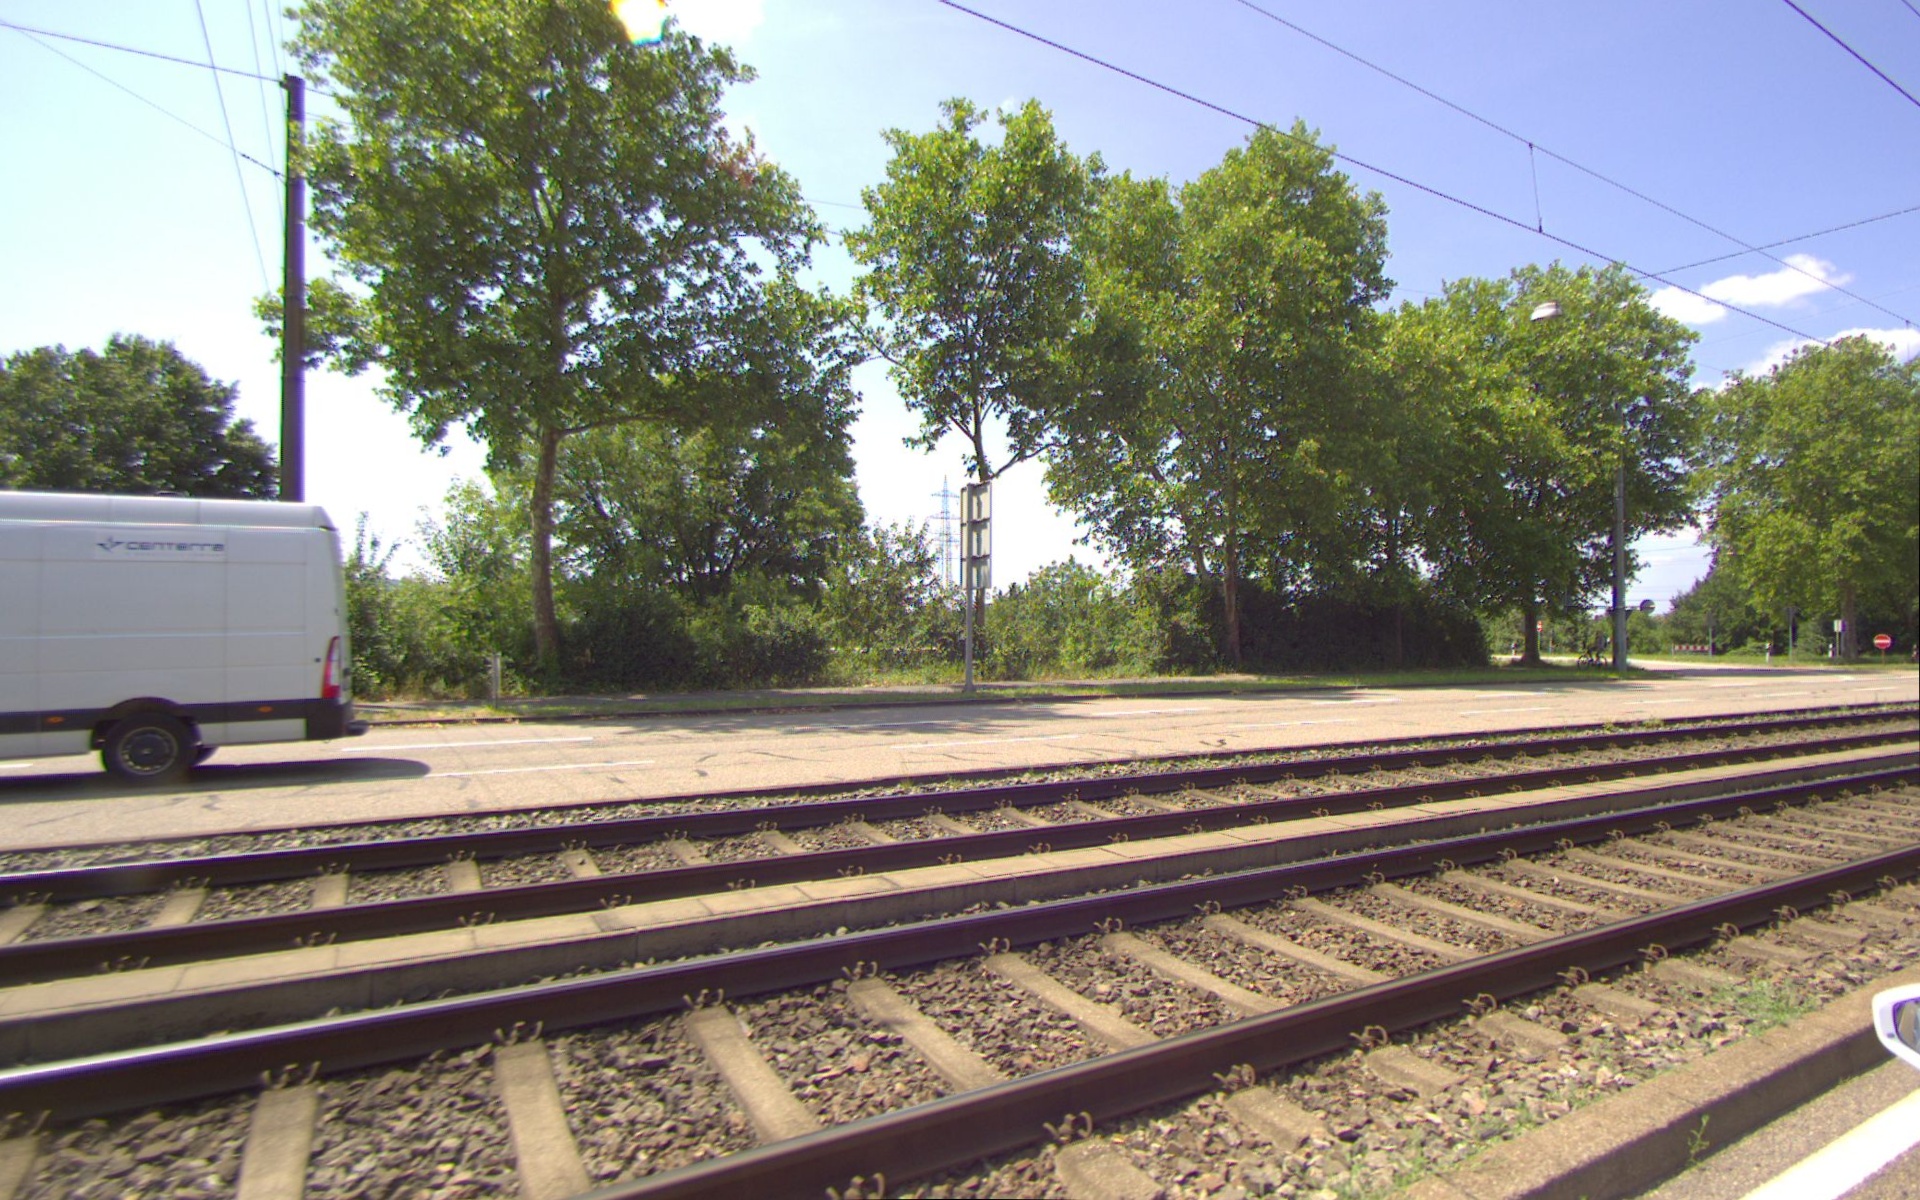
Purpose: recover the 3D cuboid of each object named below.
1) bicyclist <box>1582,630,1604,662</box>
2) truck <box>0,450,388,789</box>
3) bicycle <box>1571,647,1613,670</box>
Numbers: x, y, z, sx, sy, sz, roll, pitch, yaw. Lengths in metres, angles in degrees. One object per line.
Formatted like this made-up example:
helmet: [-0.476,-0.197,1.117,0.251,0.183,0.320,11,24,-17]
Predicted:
bicyclist: [29.157,2.102,46.277,0.635,1.448,0.585,1,-1,-17]
truck: [-9.107,0.195,9.615,6.245,2.977,2.044,1,-2,-30]
bicycle: [29.148,2.690,46.332,1.733,1.001,0.731,1,-1,-18]
